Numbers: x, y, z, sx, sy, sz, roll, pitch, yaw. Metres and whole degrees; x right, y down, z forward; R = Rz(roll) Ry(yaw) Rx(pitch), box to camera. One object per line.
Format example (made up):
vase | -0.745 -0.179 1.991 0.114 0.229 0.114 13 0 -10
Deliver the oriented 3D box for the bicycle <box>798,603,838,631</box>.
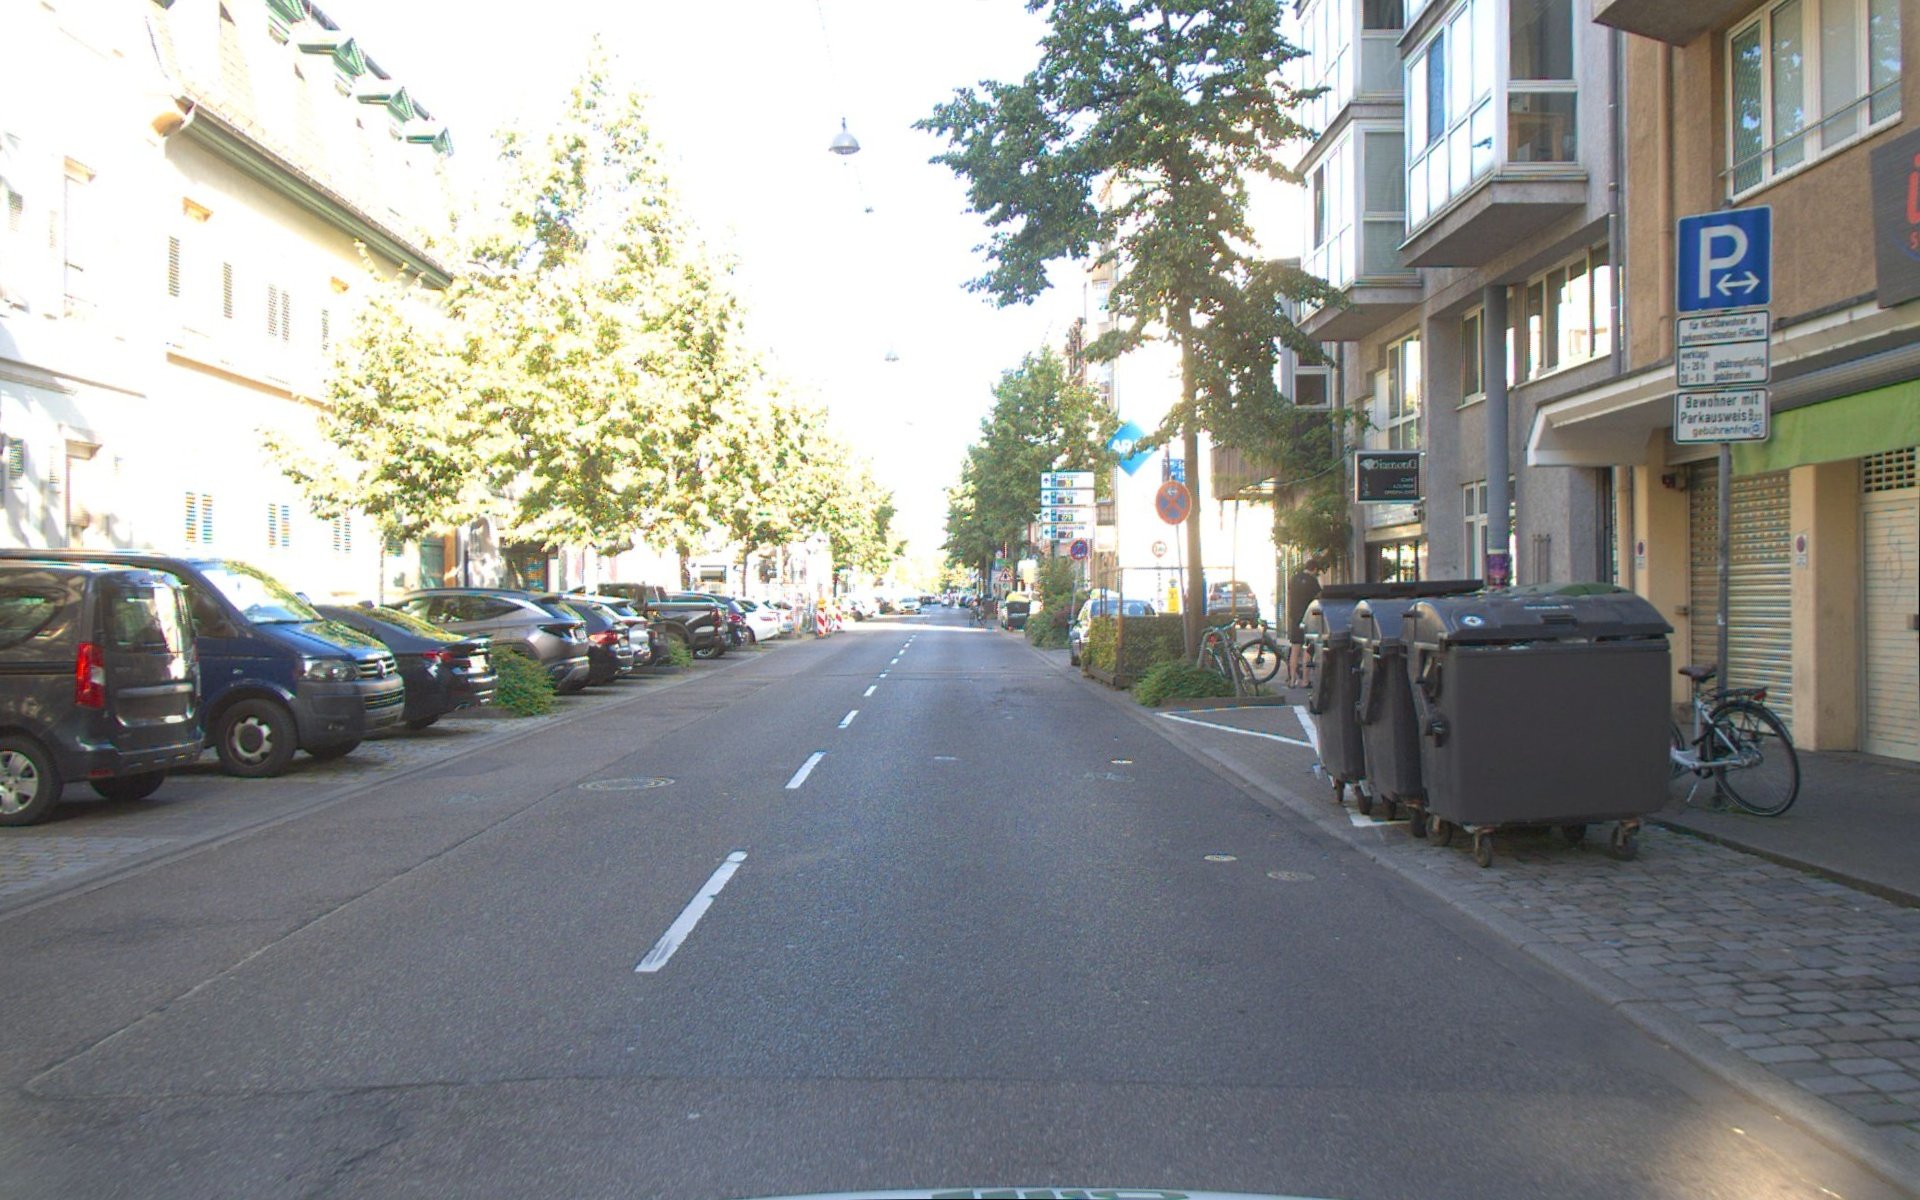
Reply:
bicycle | -6.516 0.772 75.875 1.820 1.274 0.599 0 0 -8

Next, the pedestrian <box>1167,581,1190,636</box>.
pedestrian | 7.600 0.283 57.513 0.692 1.882 0.688 -2 0 1

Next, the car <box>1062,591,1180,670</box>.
car | 3.248 0.574 34.117 1.862 1.436 4.646 -3 0 -1

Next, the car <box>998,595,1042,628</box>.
car | 2.865 0.545 79.547 1.785 1.415 4.299 -3 0 -2

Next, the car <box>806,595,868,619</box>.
car | -7.980 0.444 107.793 3.906 1.414 1.999 -1 0 -2

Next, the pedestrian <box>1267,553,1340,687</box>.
pedestrian | 5.196 0.299 24.987 0.906 1.969 0.760 -1 0 24

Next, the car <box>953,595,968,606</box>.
car | 0.007 0.094 226.540 1.953 1.534 3.999 0 -1 -1

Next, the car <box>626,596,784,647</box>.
car | -7.696 0.642 50.262 4.588 1.491 1.807 0 0 -4

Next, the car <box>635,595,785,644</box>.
car | -7.939 0.612 52.907 4.588 1.491 1.807 0 0 -4

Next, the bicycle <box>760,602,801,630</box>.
bicycle | -8.223 0.742 75.674 1.749 1.274 0.601 0 0 11

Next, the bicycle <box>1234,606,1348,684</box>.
bicycle | 5.141 0.683 25.738 0.676 1.169 1.659 -1 0 -42

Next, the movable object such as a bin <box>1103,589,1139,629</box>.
movable object such as a bin | 6.410 0.358 66.024 1.245 1.557 1.176 -1 0 -2

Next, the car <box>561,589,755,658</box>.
car | -7.624 0.586 42.085 4.584 1.723 1.808 0 0 1

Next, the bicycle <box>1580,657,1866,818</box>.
bicycle | 4.664 0.806 10.230 0.561 0.887 1.630 -1 -1 -23

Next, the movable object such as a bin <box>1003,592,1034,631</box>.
movable object such as a bin | 2.477 0.478 69.905 1.118 1.589 1.460 -1 0 7

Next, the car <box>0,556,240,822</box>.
car | -7.918 0.611 12.192 4.374 1.803 1.917 0 0 1

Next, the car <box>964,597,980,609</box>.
car | 1.480 0.409 207.093 1.953 1.534 3.999 0 -1 -1

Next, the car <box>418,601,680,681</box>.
car | -7.851 0.765 31.901 4.584 1.488 1.808 0 0 1

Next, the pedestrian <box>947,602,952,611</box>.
pedestrian | -1.258 0.811 203.875 0.534 1.044 0.546 -1 0 -3

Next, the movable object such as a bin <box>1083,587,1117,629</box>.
movable object such as a bin | 5.704 0.318 67.382 1.181 1.656 1.497 -1 0 -2

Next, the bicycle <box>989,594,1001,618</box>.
bicycle | 2.264 0.406 106.066 0.549 1.465 1.628 -7 0 -1

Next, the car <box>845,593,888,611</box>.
car | -8.731 0.169 154.233 3.906 1.526 1.999 -1 0 -2

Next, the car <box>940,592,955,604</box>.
car | -1.591 -0.232 205.941 1.785 1.415 4.299 -3 0 -2

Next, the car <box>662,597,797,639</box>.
car | -8.076 0.613 58.216 4.588 1.437 1.807 0 0 -4

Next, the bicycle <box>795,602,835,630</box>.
bicycle | -6.733 0.746 76.886 1.820 1.274 0.599 0 0 -8

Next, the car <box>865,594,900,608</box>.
car | -8.840 0.135 188.429 3.906 1.526 1.999 -1 0 -2

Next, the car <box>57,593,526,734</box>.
car | -7.360 0.679 18.513 4.551 1.485 1.683 0 0 -1

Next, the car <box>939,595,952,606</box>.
car | -1.930 0.038 220.615 1.756 1.436 3.999 -1 0 -1

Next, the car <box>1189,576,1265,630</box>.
car | 8.862 0.083 55.196 1.862 1.677 4.294 -1 0 1

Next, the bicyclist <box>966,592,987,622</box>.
bicyclist | 0.886 0.396 89.402 0.751 1.587 1.040 -1 0 23

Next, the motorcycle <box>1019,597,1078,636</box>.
motorcycle | 3.186 0.576 59.579 1.943 1.353 0.909 -1 0 -13

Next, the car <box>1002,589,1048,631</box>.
car | 2.903 0.415 74.228 1.785 1.708 4.600 -3 0 0

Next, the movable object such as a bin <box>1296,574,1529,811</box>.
movable object such as a bin | 3.167 0.620 11.713 1.303 1.569 1.146 -1 0 -1

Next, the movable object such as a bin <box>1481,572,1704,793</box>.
movable object such as a bin | 4.447 0.548 11.735 1.055 1.456 1.295 -1 0 -1

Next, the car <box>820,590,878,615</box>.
car | -8.074 0.172 120.704 3.903 1.724 2.001 -1 0 4

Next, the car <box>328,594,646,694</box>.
car | -7.531 0.682 26.614 4.584 1.546 1.808 0 0 1

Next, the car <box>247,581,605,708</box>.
car | -7.632 0.620 23.931 4.584 1.742 1.808 0 0 1

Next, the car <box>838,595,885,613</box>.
car | -8.522 0.328 143.465 3.906 1.526 1.999 -1 0 -2

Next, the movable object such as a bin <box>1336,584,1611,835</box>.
movable object such as a bin | 3.226 0.658 10.550 1.370 1.479 1.146 -1 0 -1

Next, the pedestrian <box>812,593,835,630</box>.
pedestrian | -6.313 0.526 76.554 0.785 1.737 0.758 0 0 -34

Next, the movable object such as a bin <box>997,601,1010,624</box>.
movable object such as a bin | 2.285 0.644 87.018 0.609 1.200 0.711 -1 0 -3

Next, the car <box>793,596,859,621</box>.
car | -8.245 0.526 102.002 3.906 1.414 1.999 -1 0 -2

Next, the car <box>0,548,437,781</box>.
car | -7.406 0.558 15.167 4.584 1.984 1.917 0 0 1

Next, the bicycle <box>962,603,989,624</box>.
bicycle | 0.842 0.736 89.335 0.751 1.077 1.955 -1 0 23

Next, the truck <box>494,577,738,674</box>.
truck | -7.585 0.550 36.873 4.982 1.972 1.999 -1 0 -1

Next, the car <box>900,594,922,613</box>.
car | -4.213 0.278 142.170 1.766 1.460 4.408 -3 0 -2

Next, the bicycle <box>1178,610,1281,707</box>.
bicycle | 3.539 0.743 21.924 0.597 1.139 2.051 -8 1 -9

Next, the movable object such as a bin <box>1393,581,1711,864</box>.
movable object such as a bin | 3.305 0.648 9.388 1.370 1.479 1.146 -1 0 -1

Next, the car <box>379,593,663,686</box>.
car | -7.803 0.685 29.678 4.584 1.599 1.808 0 0 1
